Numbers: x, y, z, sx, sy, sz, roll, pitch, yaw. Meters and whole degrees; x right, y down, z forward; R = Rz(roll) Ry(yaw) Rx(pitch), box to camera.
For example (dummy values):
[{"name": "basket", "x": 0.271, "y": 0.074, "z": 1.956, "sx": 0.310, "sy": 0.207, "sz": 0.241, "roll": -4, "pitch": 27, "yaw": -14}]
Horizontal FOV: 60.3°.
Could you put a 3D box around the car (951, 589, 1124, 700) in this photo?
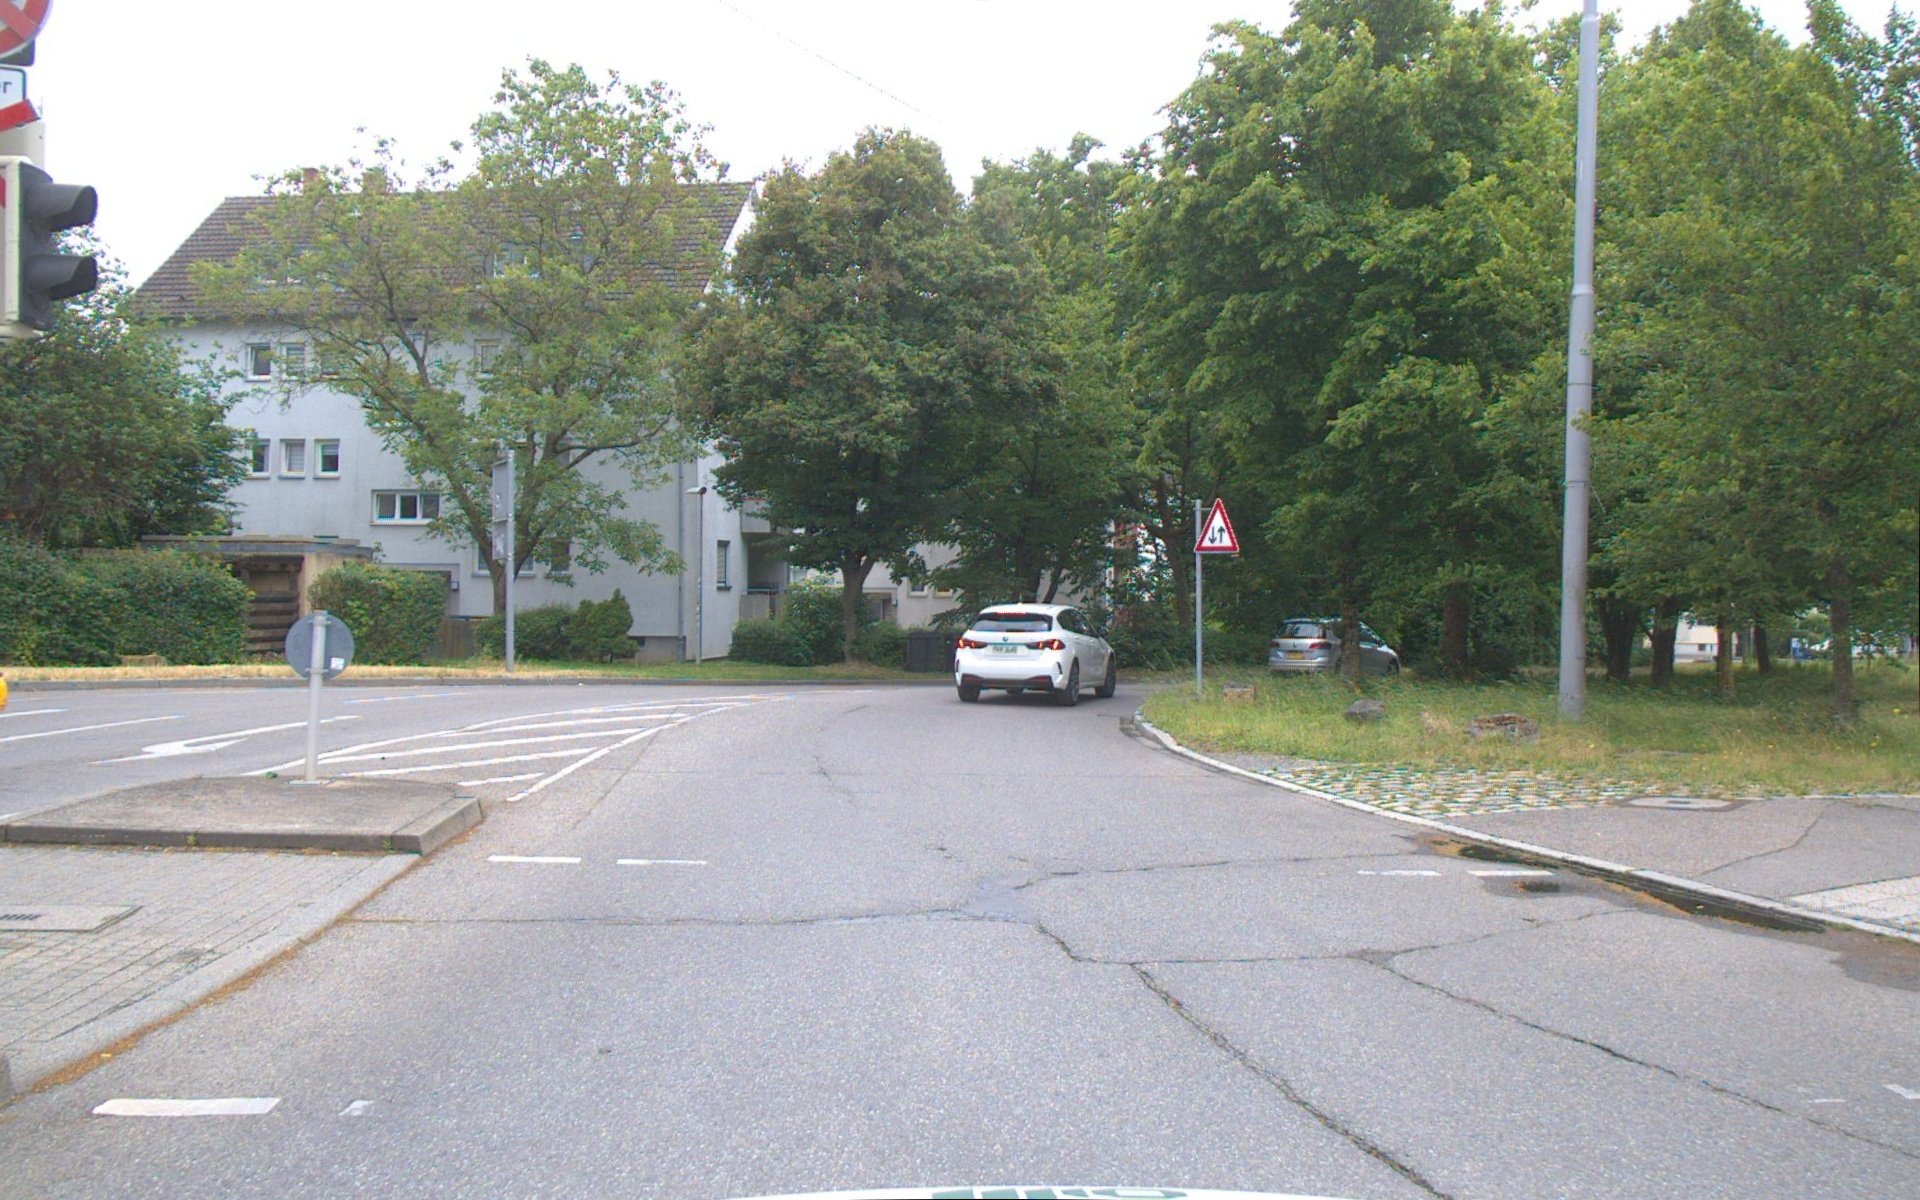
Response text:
[{"name": "car", "x": 1.299, "y": 0.695, "z": 25.792, "sx": 1.758, "sy": 1.544, "sz": 4.209, "roll": 1, "pitch": -2, "yaw": 16}]

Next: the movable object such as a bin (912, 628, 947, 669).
[{"name": "movable object such as a bin", "x": -0.705, "y": 1.125, "z": 38.504, "sx": 0.583, "sy": 0.894, "sz": 0.616, "roll": 2, "pitch": 1, "yaw": -26}]

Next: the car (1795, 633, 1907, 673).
[{"name": "car", "x": 64.457, "y": 3.821, "z": 119.779, "sx": 6.810, "sy": 2.566, "sz": 2.086, "roll": 2, "pitch": 1, "yaw": 6}]

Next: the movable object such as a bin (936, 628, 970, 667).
[{"name": "movable object such as a bin", "x": -0.155, "y": 1.112, "z": 38.754, "sx": 0.569, "sy": 0.881, "sz": 0.596, "roll": 2, "pitch": 1, "yaw": -26}]

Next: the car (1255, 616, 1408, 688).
[{"name": "car", "x": 8.812, "y": 1.222, "z": 39.022, "sx": 1.894, "sy": 1.602, "sz": 3.978, "roll": 0, "pitch": -2, "yaw": 40}]
